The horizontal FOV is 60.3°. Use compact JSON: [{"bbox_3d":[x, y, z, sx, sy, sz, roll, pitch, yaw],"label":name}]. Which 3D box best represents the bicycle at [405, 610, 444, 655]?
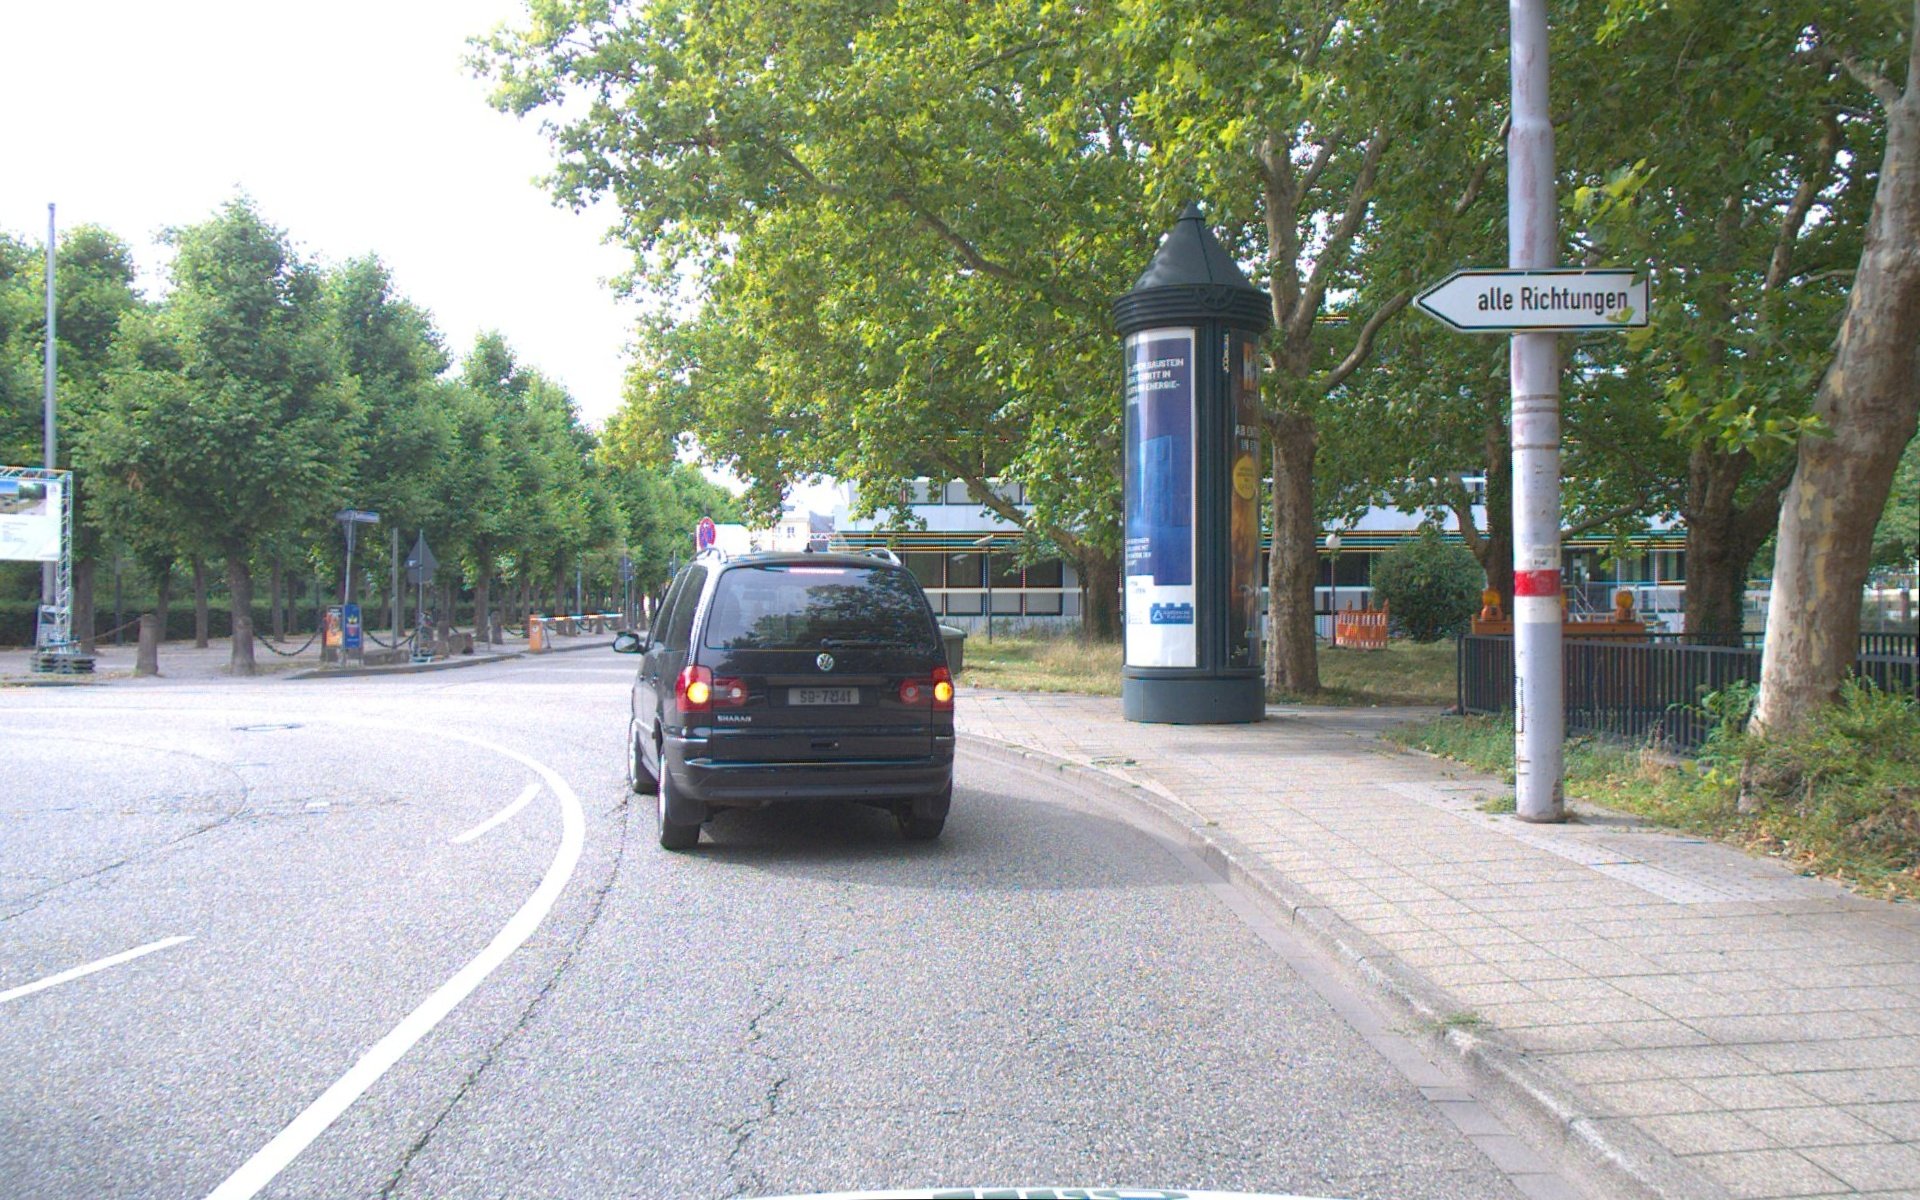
[{"bbox_3d":[-14.633,0.876,45.167,0.938,1.129,2.565,1,0,-19],"label":"bicycle"}]

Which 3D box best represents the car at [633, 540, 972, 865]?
[{"bbox_3d":[-1.242,0.538,11.075,1.762,1.738,4.118,-1,0,-13],"label":"car"}]

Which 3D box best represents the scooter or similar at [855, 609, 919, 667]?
[{"bbox_3d":[-1.684,0.881,38.125,1.422,1.291,0.569,1,0,-7],"label":"scooter or similar"}]

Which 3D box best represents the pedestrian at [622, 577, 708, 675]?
[{"bbox_3d":[-5.495,0.476,30.852,0.944,1.772,1.251,1,0,36],"label":"pedestrian"}]

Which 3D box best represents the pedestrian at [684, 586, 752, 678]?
[{"bbox_3d":[-4.494,0.587,30.711,0.880,1.670,0.850,1,0,33],"label":"pedestrian"}]
